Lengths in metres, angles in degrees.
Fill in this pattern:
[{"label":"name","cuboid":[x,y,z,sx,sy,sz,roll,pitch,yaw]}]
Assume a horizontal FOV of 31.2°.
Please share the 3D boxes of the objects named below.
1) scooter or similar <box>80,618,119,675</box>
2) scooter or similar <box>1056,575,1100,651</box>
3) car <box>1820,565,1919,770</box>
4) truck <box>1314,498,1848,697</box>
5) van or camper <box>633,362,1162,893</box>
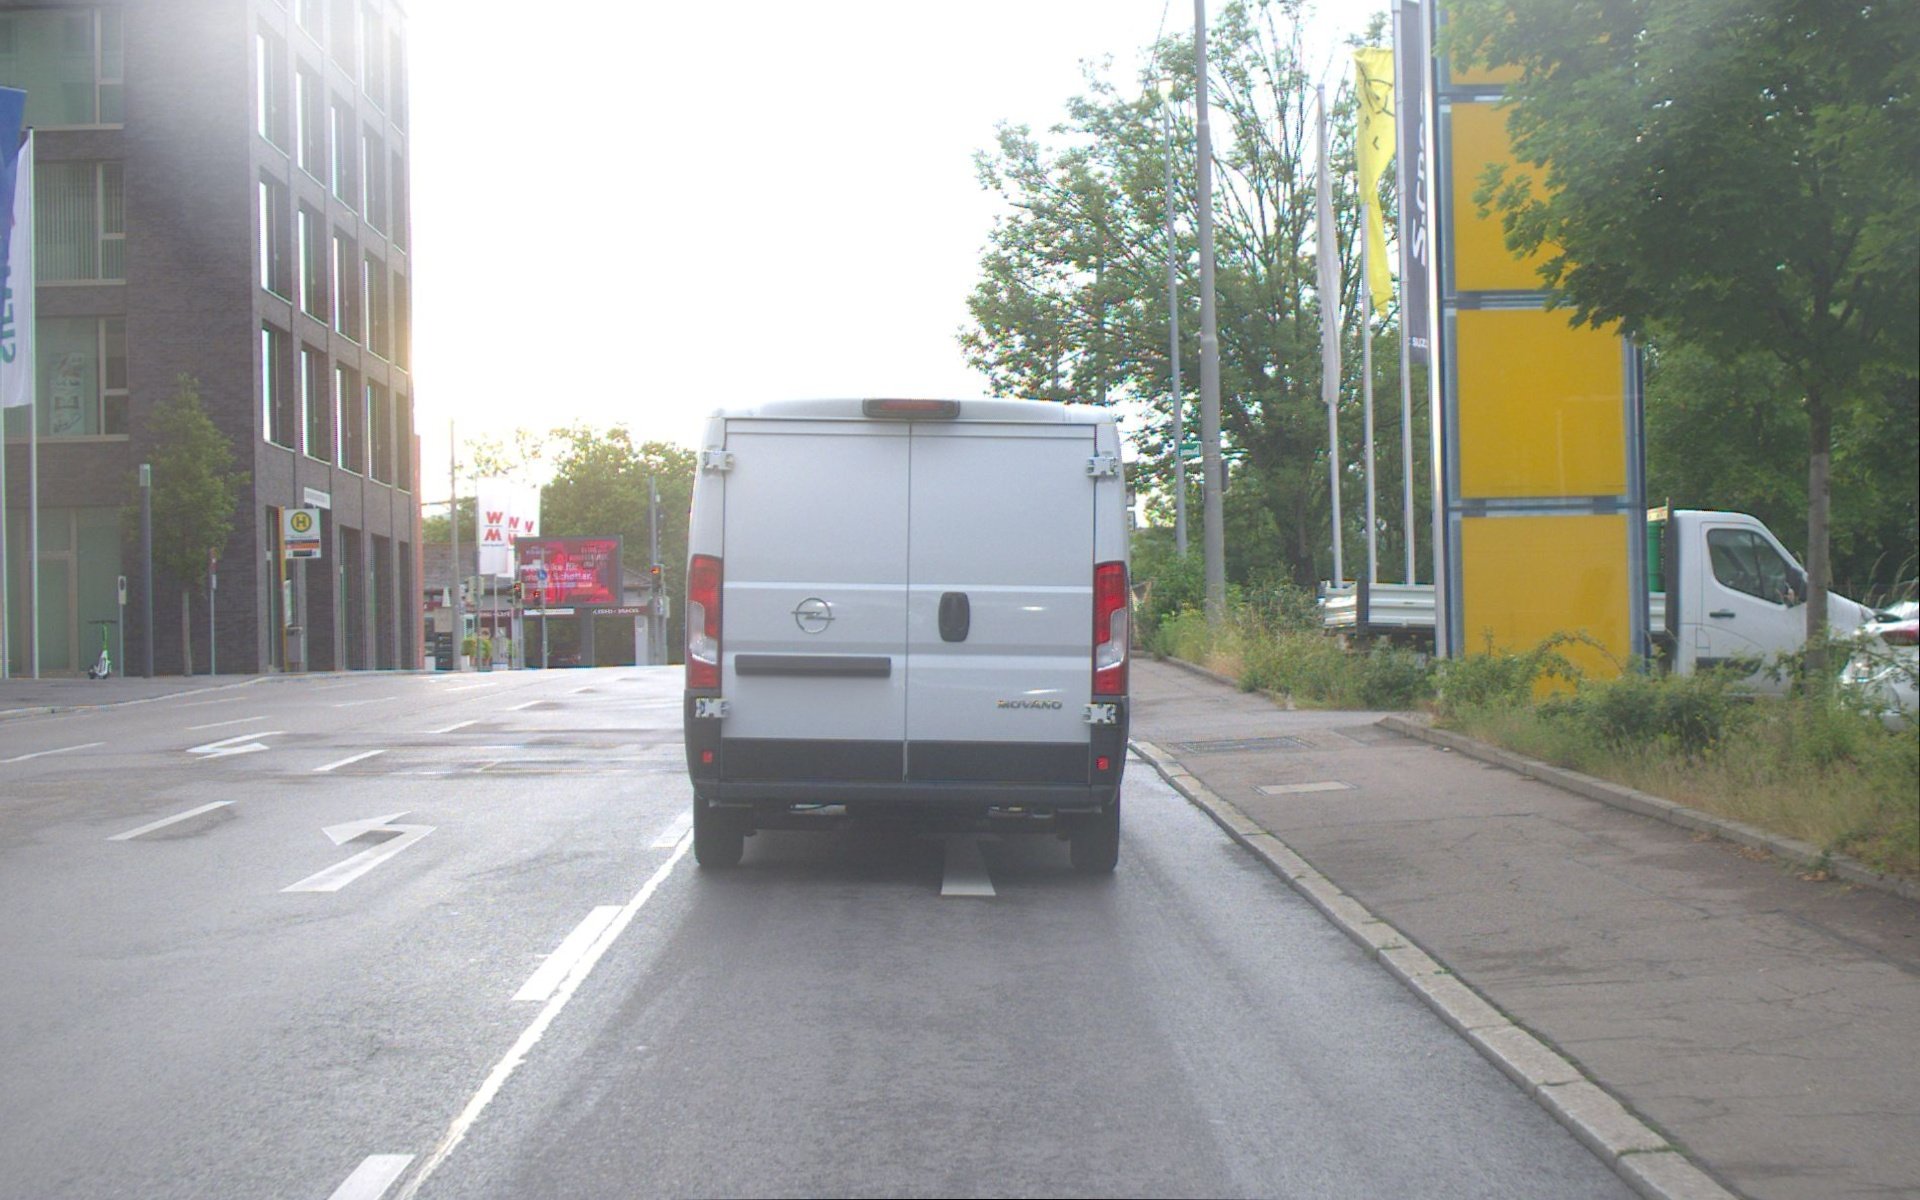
[{"label":"scooter or similar","cuboid":[-16.204,0.883,64.754,0.351,1.068,1.428,0,-1,0]},{"label":"scooter or similar","cuboid":[2.496,0.268,72.618,0.434,1.582,1.273,0,1,-23]},{"label":"car","cuboid":[8.454,0.455,24.886,3.987,1.423,1.895,0,1,0]},{"label":"truck","cuboid":[6.469,-0.041,36.283,5.147,2.007,2.345,0,1,-2]},{"label":"van or camper","cuboid":[-0.271,0.088,17.871,2.340,2.349,5.199,0,1,0]}]
